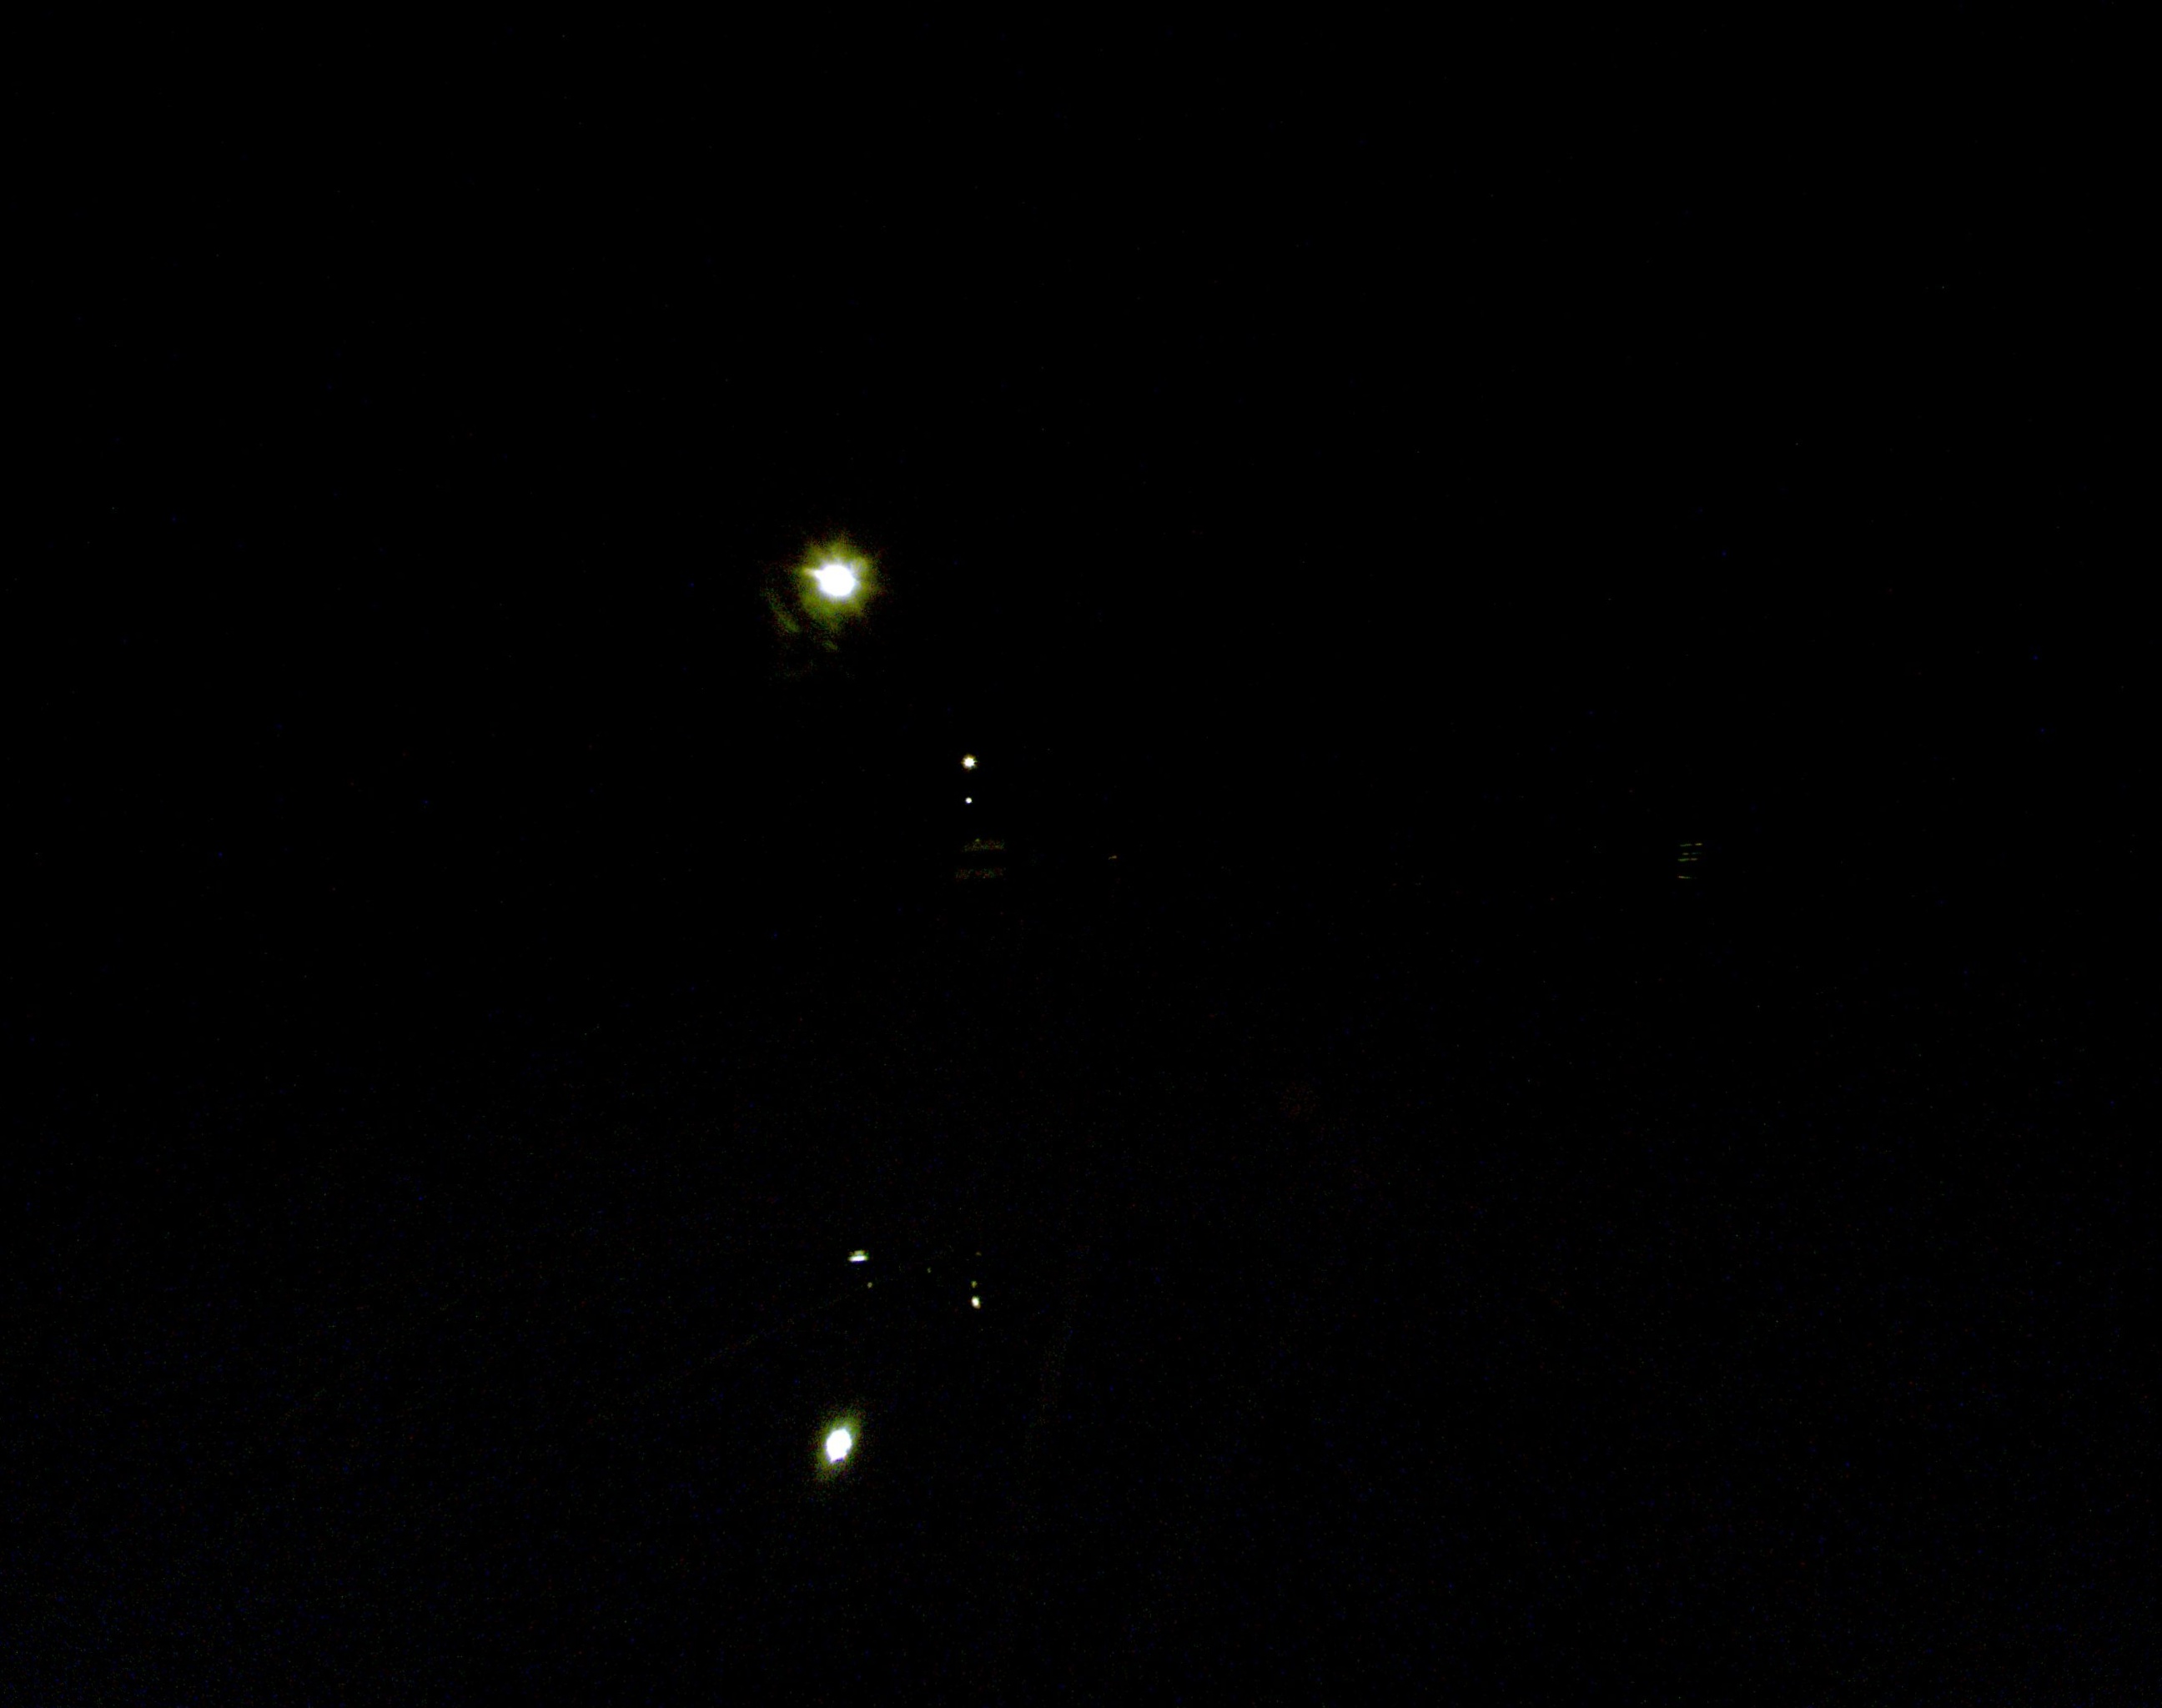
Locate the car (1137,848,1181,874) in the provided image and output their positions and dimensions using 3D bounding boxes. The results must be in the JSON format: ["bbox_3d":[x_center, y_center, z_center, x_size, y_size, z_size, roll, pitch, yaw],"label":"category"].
[{"bbox_3d":[5.535,0.493,54.513,2.000,1.761,4.688,-2,0,-9],"label":"car"}]

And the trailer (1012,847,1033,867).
[{"bbox_3d":[-8.391,0.452,108.775,2.005,2.749,3.994,0,-1,-18],"label":"trailer"}]

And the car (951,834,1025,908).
[{"bbox_3d":[-3.549,0.604,30.123,2.026,2.512,6.051,-3,0,0],"label":"car"}]

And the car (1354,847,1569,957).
[{"bbox_3d":[6.143,0.680,12.897,1.759,1.517,4.324,-2,0,5],"label":"car"}]

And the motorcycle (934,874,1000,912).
[{"bbox_3d":[-3.895,1.323,25.812,2.180,1.177,0.770,-3,1,32],"label":"motorcycle"}]

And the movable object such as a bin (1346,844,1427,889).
[{"bbox_3d":[10.755,0.422,26.842,2.341,1.486,1.416,-2,0,7],"label":"movable object such as a bin"}]

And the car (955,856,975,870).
[{"bbox_3d":[-15.781,1.200,102.839,1.736,1.769,4.309,-3,1,-21],"label":"car"}]

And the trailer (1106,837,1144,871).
[{"bbox_3d":[3.737,-0.004,65.941,2.212,2.779,4.612,-2,0,-10],"label":"trailer"}]

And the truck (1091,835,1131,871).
[{"bbox_3d":[2.771,-0.109,72.491,2.381,3.224,7.226,-2,0,-9],"label":"truck"}]

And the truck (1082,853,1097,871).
[{"bbox_3d":[1.266,1.246,118.755,2.138,2.597,7.099,-1,0,0],"label":"truck"}]

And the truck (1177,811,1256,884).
[{"bbox_3d":[6.622,-0.286,38.273,2.550,3.261,7.311,-2,0,0],"label":"truck"}]

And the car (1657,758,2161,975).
[{"bbox_3d":[10.804,0.134,10.652,1.998,2.308,4.968,0,0,5],"label":"car"}]

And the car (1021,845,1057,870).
[{"bbox_3d":[-5.736,0.486,101.954,2.392,3.224,7.218,-2,0,-23],"label":"car"}]

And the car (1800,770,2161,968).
[{"bbox_3d":[13.694,0.147,11.104,2.212,2.308,4.625,-1,0,5],"label":"car"}]

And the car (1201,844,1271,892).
[{"bbox_3d":[6.313,0.544,31.462,1.834,1.806,4.838,-1,0,0],"label":"car"}]

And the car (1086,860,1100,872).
[{"bbox_3d":[1.745,1.671,108.980,1.862,1.630,3.999,-1,0,-2],"label":"car"}]
